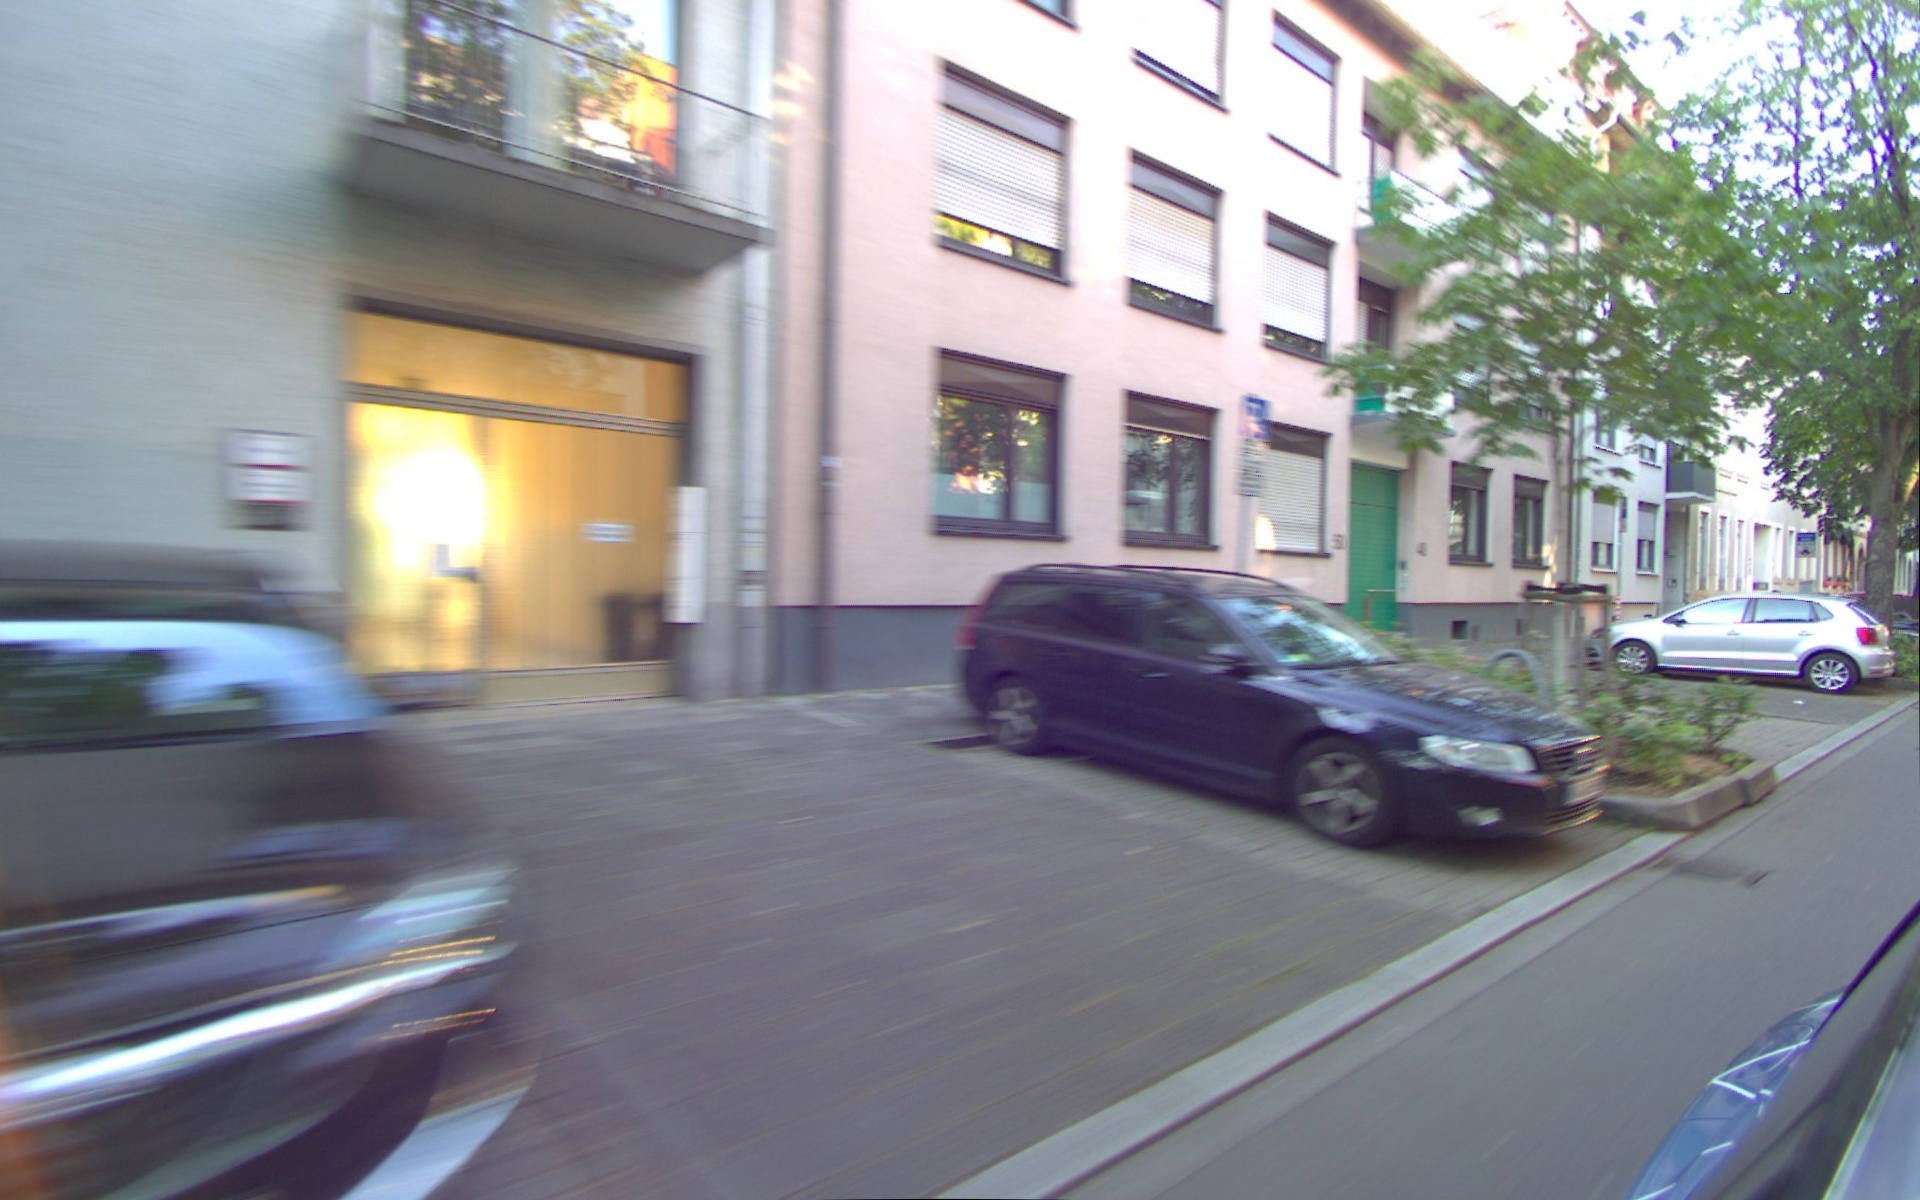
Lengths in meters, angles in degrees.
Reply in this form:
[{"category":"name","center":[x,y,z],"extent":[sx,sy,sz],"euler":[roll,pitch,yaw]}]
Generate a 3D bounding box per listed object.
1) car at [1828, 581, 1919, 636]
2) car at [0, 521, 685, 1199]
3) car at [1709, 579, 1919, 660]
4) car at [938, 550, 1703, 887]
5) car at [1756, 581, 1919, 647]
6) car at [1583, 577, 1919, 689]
[{"category":"car","center":[28.340,0.233,30.034],"extent":[1.725,1.572,3.726],"euler":[-1,2,-43]},{"category":"car","center":[-2.791,0.504,3.249],"extent":[1.964,1.405,4.692],"euler":[0,5,-39]},{"category":"car","center":[18.677,0.360,20.866],"extent":[1.953,1.515,4.884],"euler":[0,2,-40]},{"category":"car","center":[2.101,0.457,7.301],"extent":[2.005,1.465,4.855],"euler":[0,4,-38]},{"category":"car","center":[21.842,0.306,24.502],"extent":[1.685,1.428,3.838],"euler":[-1,3,-45]},{"category":"car","center":[12.470,0.414,16.074],"extent":[1.768,1.509,4.086],"euler":[-1,2,-43]}]
